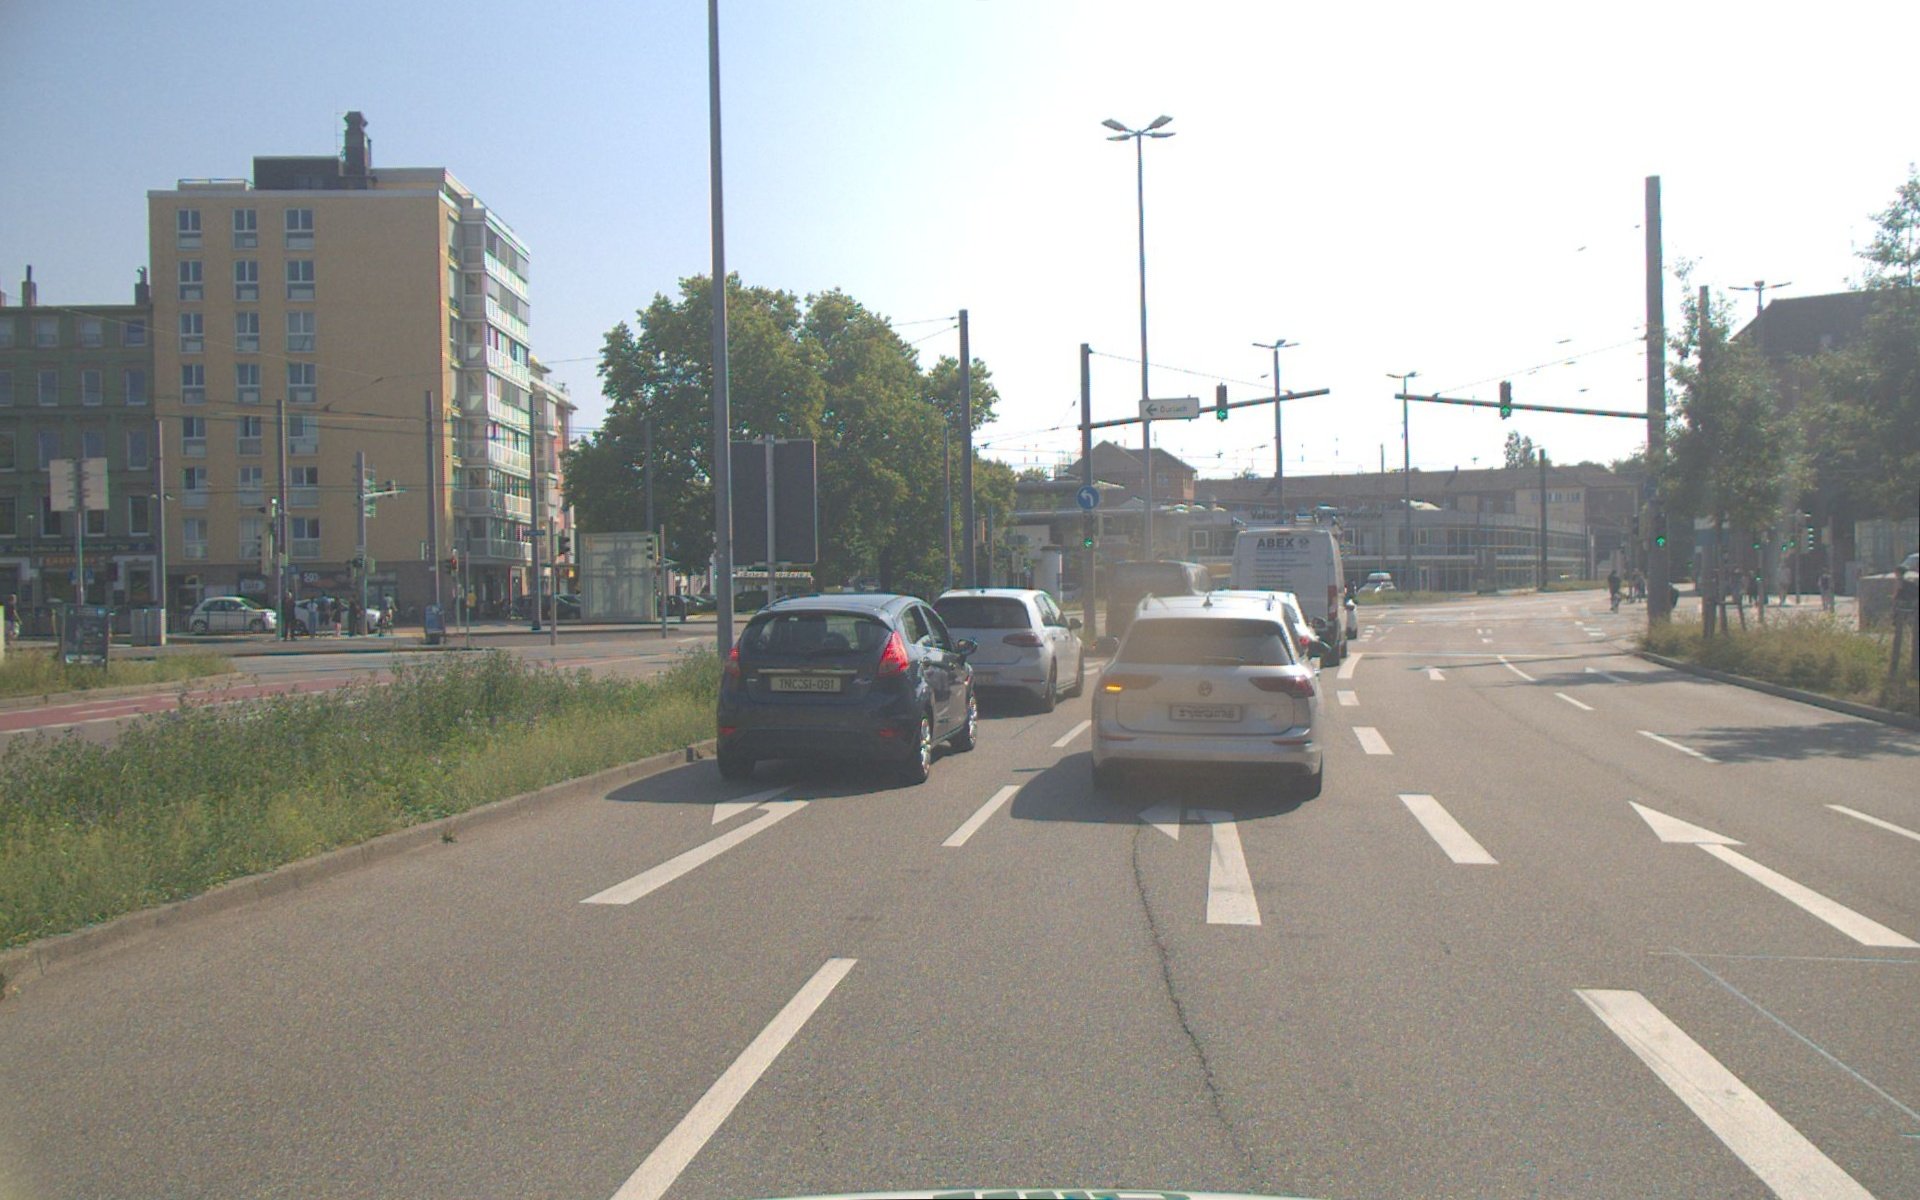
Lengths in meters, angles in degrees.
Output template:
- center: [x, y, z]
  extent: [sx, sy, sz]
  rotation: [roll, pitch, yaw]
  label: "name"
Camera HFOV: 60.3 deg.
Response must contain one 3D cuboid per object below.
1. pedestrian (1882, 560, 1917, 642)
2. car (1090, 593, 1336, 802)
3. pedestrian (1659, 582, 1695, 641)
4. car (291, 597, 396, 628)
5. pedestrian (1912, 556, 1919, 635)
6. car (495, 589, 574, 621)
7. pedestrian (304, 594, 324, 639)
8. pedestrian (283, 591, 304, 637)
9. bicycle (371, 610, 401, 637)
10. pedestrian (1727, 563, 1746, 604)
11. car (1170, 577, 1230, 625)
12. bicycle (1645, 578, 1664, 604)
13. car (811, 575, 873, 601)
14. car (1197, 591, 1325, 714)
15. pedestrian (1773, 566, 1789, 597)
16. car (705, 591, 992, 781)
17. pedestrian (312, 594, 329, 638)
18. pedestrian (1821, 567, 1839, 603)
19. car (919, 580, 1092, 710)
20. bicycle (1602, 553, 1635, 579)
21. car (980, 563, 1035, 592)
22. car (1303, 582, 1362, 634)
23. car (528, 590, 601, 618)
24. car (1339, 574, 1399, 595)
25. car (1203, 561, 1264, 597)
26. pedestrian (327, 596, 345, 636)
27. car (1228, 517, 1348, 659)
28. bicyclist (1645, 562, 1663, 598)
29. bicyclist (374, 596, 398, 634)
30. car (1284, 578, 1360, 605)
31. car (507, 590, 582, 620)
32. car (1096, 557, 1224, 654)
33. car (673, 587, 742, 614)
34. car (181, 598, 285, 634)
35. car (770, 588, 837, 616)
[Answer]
- center: [19.524, 0.019, 34.377]
  extent: [0.603, 1.667, 0.533]
  rotation: [-1, 0, 31]
  label: "pedestrian"
- center: [2.066, 0.663, 13.080]
  extent: [1.649, 1.412, 3.637]
  rotation: [-1, 0, 11]
  label: "car"
- center: [17.119, 0.270, 39.508]
  extent: [0.622, 1.385, 0.634]
  rotation: [-1, 0, 7]
  label: "pedestrian"
- center: [-25.148, 0.525, 67.558]
  extent: [3.757, 1.200, 1.573]
  rotation: [-1, -1, -8]
  label: "car"
- center: [20.357, -0.096, 34.715]
  extent: [0.603, 1.657, 0.532]
  rotation: [-1, 0, 31]
  label: "pedestrian"
- center: [-23.714, 0.275, 92.233]
  extent: [3.906, 1.584, 1.869]
  rotation: [-1, 3, -2]
  label: "car"
- center: [-24.858, 0.636, 63.660]
  extent: [0.445, 1.714, 0.548]
  rotation: [0, 3, 10]
  label: "pedestrian"
- center: [-25.493, 0.520, 63.247]
  extent: [0.445, 1.714, 0.547]
  rotation: [0, 3, 22]
  label: "pedestrian"
- center: [-22.428, 0.914, 64.681]
  extent: [0.713, 1.001, 1.729]
  rotation: [-1, 0, -6]
  label: "bicycle"
- center: [36.920, -0.803, 78.628]
  extent: [0.788, 1.921, 0.748]
  rotation: [-1, 0, 24]
  label: "pedestrian"
- center: [8.027, 0.025, 55.122]
  extent: [1.588, 1.528, 4.092]
  rotation: [-1, 0, 13]
  label: "car"
- center: [30.128, -0.399, 71.755]
  extent: [0.692, 1.080, 1.981]
  rotation: [-1, 0, 24]
  label: "bicycle"
- center: [-7.610, -0.769, 106.966]
  extent: [3.907, 1.585, 1.727]
  rotation: [-1, 0, -3]
  label: "car"
- center: [3.898, 0.612, 21.300]
  extent: [1.457, 1.427, 3.946]
  rotation: [-1, 0, 11]
  label: "car"
- center: [36.933, -0.824, 74.425]
  extent: [0.645, 1.384, 0.658]
  rotation: [0, 3, 28]
  label: "pedestrian"
- center: [-0.799, 0.625, 14.189]
  extent: [1.665, 1.392, 3.967]
  rotation: [0, 0, 8]
  label: "car"
- center: [-24.995, 0.625, 64.661]
  extent: [0.452, 1.714, 0.434]
  rotation: [-3, 3, -41]
  label: "pedestrian"
- center: [34.629, -0.595, 65.823]
  extent: [0.645, 1.384, 0.658]
  rotation: [0, 3, 28]
  label: "pedestrian"
- center: [0.654, 0.497, 20.736]
  extent: [1.457, 1.439, 3.651]
  rotation: [-1, 1, 13]
  label: "car"
- center: [26.112, -1.338, 65.610]
  extent: [0.755, 0.993, 2.152]
  rotation: [-1, 0, 10]
  label: "bicycle"
- center: [3.559, -1.687, 124.051]
  extent: [3.902, 2.048, 2.002]
  rotation: [0, 3, 9]
  label: "car"
- center: [10.774, 0.200, 47.876]
  extent: [1.602, 1.428, 3.690]
  rotation: [-1, 0, 12]
  label: "car"
- center: [-23.711, 0.231, 99.243]
  extent: [3.907, 1.585, 1.868]
  rotation: [-1, 0, -3]
  label: "car"
- center: [29.750, -1.144, 120.204]
  extent: [3.944, 1.467, 1.981]
  rotation: [-2, 1, -30]
  label: "car"
- center: [16.189, -1.233, 97.684]
  extent: [1.957, 2.049, 4.654]
  rotation: [-1, 0, 31]
  label: "car"
- center: [-24.549, 0.634, 65.046]
  extent: [0.494, 1.512, 0.434]
  rotation: [-3, 3, -41]
  label: "pedestrian"
- center: [6.547, -0.209, 32.661]
  extent: [2.142, 2.594, 4.687]
  rotation: [-1, 0, 13]
  label: "car"
- center: [30.118, -0.880, 71.753]
  extent: [0.698, 1.556, 0.806]
  rotation: [-1, 0, 24]
  label: "bicyclist"
- center: [-22.432, 0.589, 64.669]
  extent: [0.712, 1.459, 0.689]
  rotation: [-1, 0, -6]
  label: "bicyclist"
- center: [20.094, -0.477, 91.851]
  extent: [3.882, 1.366, 1.932]
  rotation: [-1, 0, 5]
  label: "car"
- center: [-23.901, 0.274, 95.274]
  extent: [3.862, 1.585, 1.794]
  rotation: [-1, 0, -2]
  label: "car"
- center: [4.573, 0.105, 37.225]
  extent: [1.981, 2.043, 4.686]
  rotation: [0, 0, 18]
  label: "car"
- center: [-15.249, 0.029, 100.093]
  extent: [3.907, 1.585, 1.727]
  rotation: [-1, 0, -3]
  label: "car"
- center: [-30.843, 0.666, 70.213]
  extent: [3.662, 1.417, 1.586]
  rotation: [-1, 0, -2]
  label: "car"
- center: [-9.800, 0.114, 103.711]
  extent: [3.904, 1.646, 1.814]
  rotation: [-1, 0, 1]
  label: "car"
